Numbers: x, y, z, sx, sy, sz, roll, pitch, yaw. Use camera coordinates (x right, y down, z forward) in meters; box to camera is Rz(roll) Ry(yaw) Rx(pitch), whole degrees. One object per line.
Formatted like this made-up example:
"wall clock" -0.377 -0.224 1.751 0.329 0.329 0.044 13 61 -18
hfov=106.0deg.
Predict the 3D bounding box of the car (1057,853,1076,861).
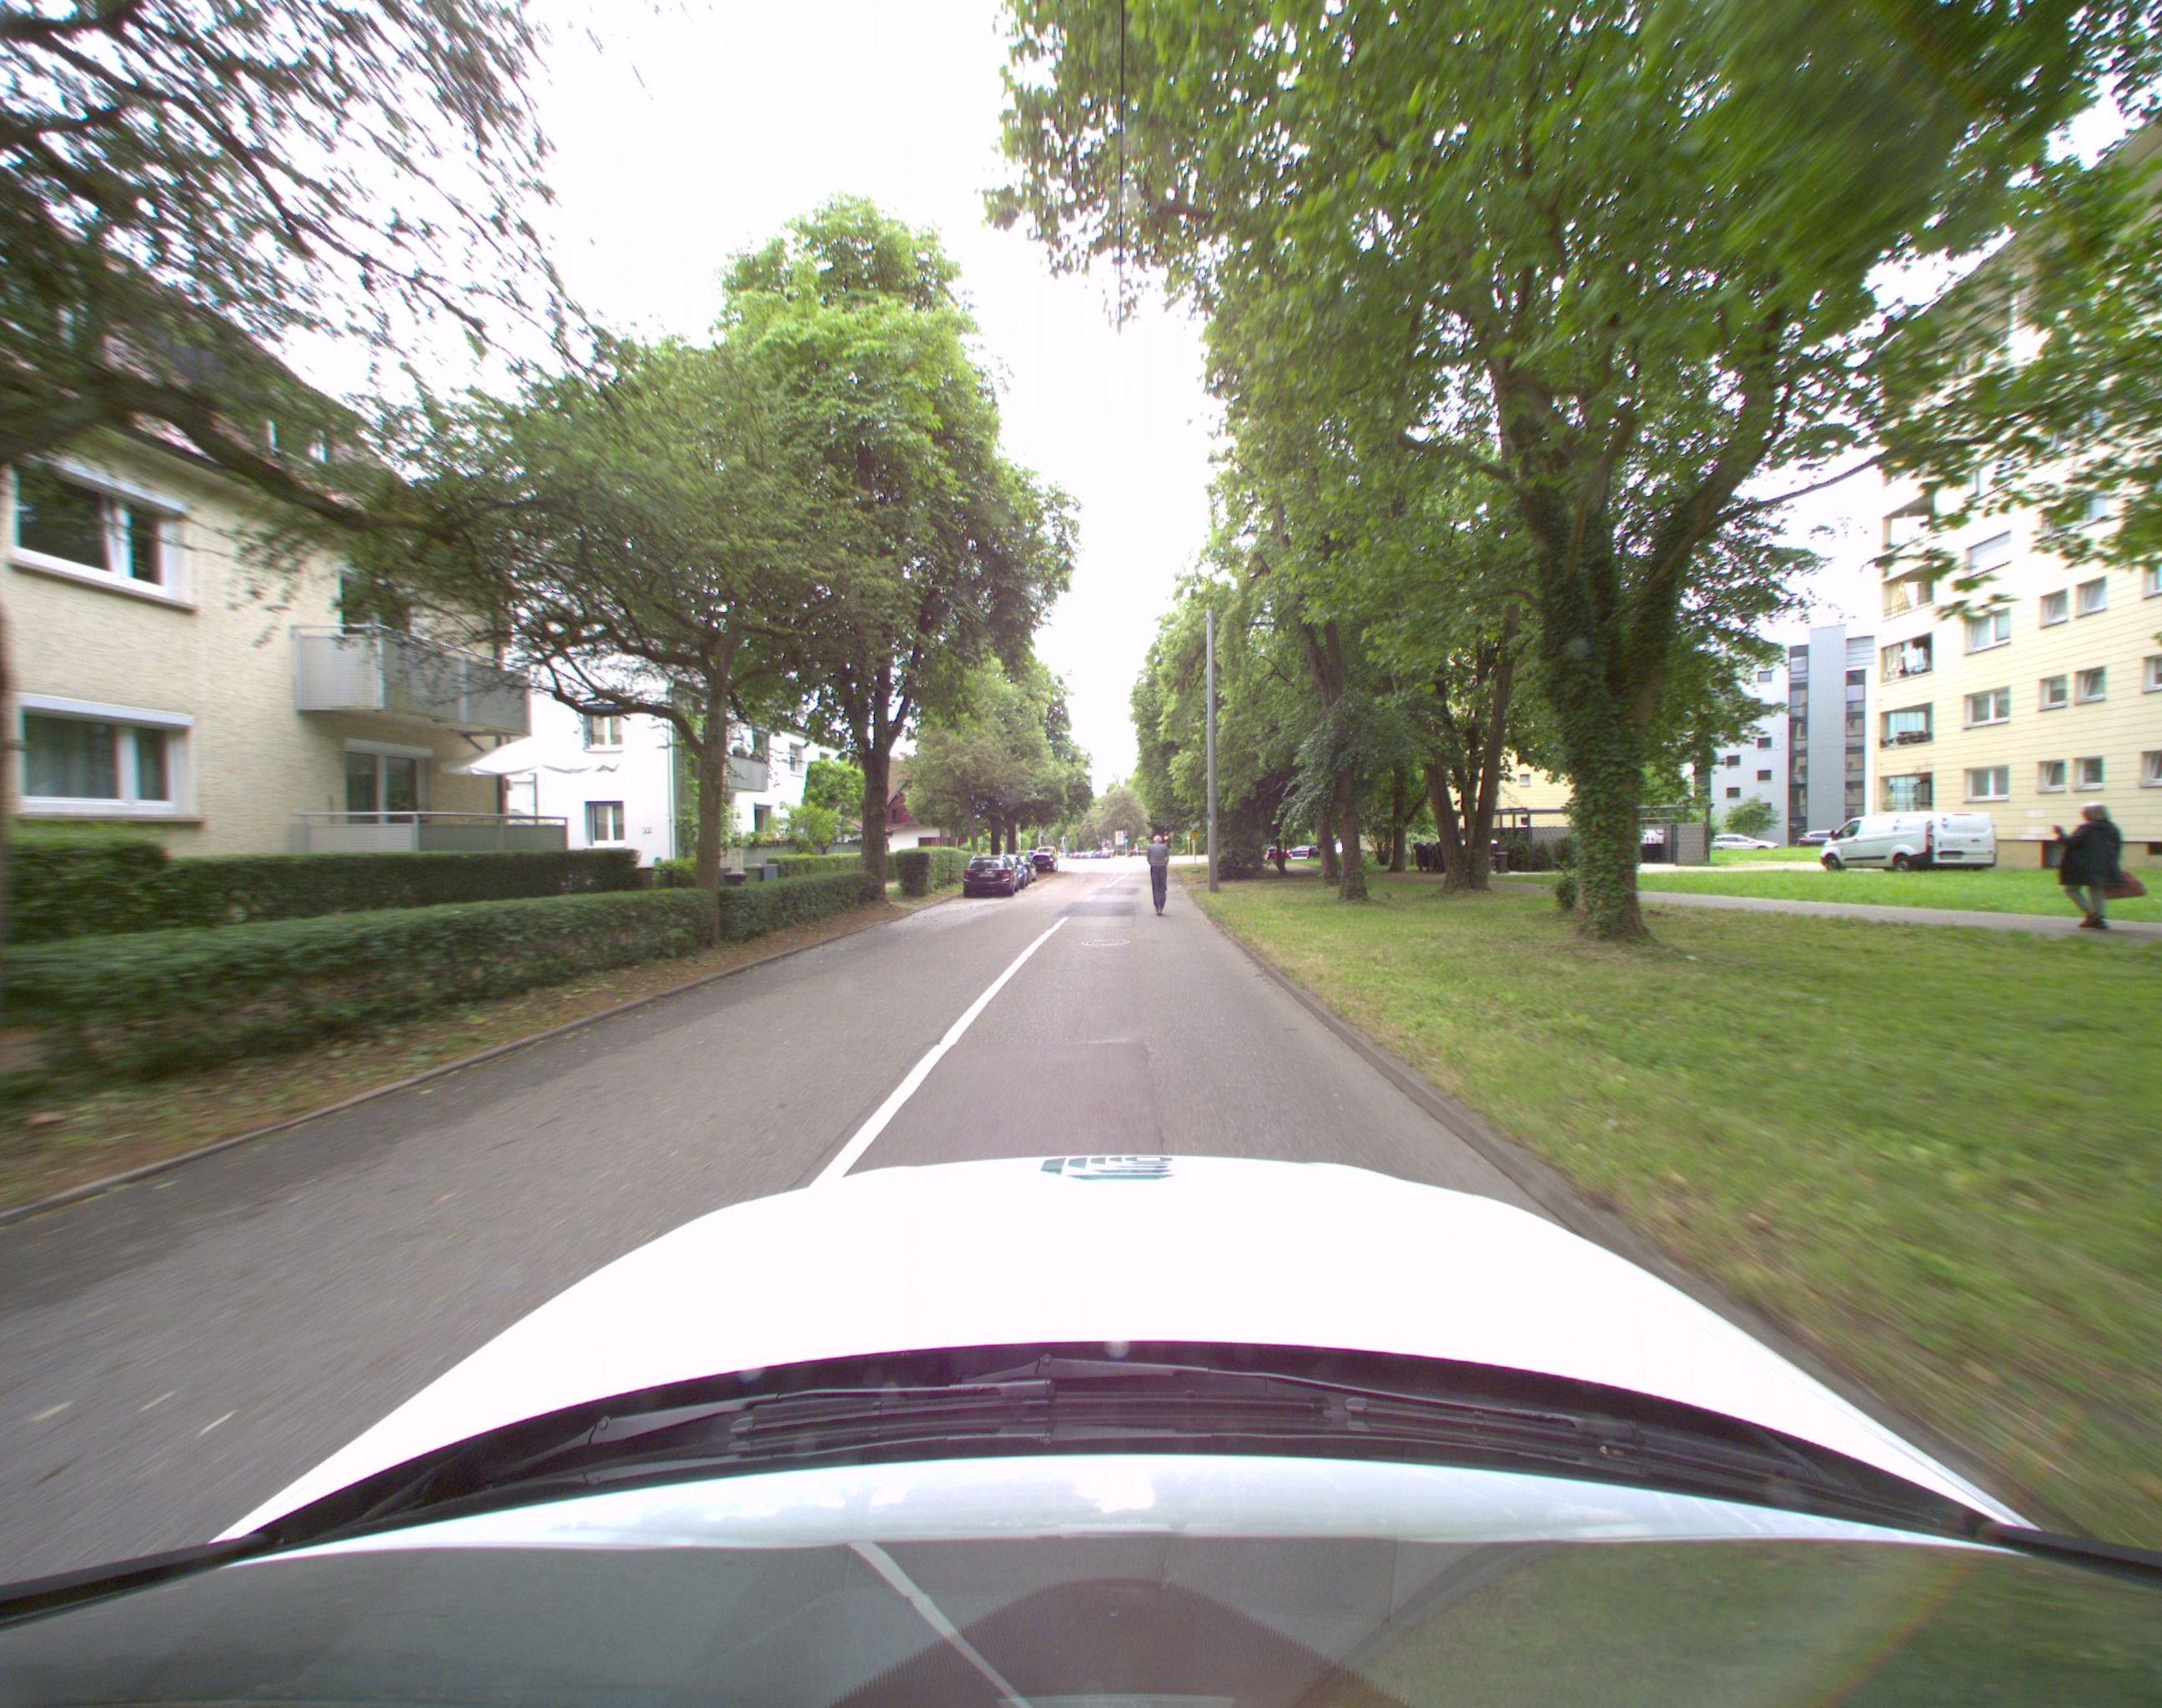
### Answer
"car" -2.956 0.542 168.970 3.976 1.510 1.799 -2 0 -2

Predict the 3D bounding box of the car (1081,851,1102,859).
"car" 1.969 0.164 154.415 3.976 1.510 1.799 -2 0 -2

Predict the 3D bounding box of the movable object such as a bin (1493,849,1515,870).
"movable object such as a bin" 18.769 0.247 36.145 0.597 0.878 0.668 -2 0 -1

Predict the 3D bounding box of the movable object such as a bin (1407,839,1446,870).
"movable object such as a bin" 17.311 0.020 40.855 1.323 1.501 1.314 -2 0 -1

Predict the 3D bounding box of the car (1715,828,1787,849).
"car" 52.663 -1.208 64.091 4.281 1.510 1.811 -2 0 39

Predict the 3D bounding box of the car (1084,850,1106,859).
"car" 2.652 0.138 152.507 3.976 1.510 1.799 -2 0 -2

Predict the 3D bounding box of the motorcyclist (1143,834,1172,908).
"motorcyclist" 1.835 0.412 19.715 0.670 1.761 0.639 0 0 2

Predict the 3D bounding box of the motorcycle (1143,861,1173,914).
"motorcycle" 1.832 0.788 19.581 0.670 1.217 1.274 0 0 3

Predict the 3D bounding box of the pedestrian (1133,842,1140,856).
"pedestrian" 7.360 -0.669 108.771 0.726 1.762 0.665 -2 -1 20

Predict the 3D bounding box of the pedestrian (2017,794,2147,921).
"pedestrian" 14.008 0.049 11.422 0.765 1.686 0.814 -2 0 0

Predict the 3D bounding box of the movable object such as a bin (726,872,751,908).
"movable object such as a bin" -8.906 0.927 21.187 0.455 0.915 0.507 -2 0 -5

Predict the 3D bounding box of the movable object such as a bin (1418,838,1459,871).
"movable object such as a bin" 17.318 0.015 39.491 1.323 1.501 1.314 -2 0 -1

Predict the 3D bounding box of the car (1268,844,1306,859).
"car" 22.674 -0.277 89.578 3.959 1.557 1.807 0 3 13

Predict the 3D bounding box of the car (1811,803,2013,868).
"car" 26.788 -0.621 26.571 2.073 1.842 4.982 -2 1 10

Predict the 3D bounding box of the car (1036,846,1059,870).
"car" -2.981 0.342 71.723 1.854 1.964 4.498 -2 0 -4

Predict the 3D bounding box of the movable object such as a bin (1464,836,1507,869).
"movable object such as a bin" 18.940 -0.069 38.166 1.323 1.501 1.314 -2 0 -1

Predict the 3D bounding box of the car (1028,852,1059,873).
"car" -2.782 0.640 60.689 1.884 1.410 4.556 -2 0 2

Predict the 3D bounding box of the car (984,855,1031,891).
"car" -3.089 0.755 34.810 1.659 1.391 3.705 -2 0 -1

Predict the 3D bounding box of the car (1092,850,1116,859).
"car" 3.994 0.123 141.766 3.976 1.510 1.799 -2 0 -2

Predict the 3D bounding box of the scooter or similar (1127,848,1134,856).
"scooter or similar" 6.673 -0.293 109.040 0.704 1.049 0.791 -2 0 20

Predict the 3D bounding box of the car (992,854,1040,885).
"car" -3.167 0.730 40.454 1.787 1.410 4.648 -2 0 2

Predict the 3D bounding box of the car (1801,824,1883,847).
"car" 56.246 -1.323 60.310 4.281 1.510 1.811 -2 0 39

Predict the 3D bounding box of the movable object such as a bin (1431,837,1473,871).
"movable object such as a bin" 17.328 0.010 38.052 1.323 1.501 1.314 -2 0 -1

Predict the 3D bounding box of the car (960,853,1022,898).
"car" -3.209 0.716 29.781 1.789 1.472 4.416 -2 0 -1
